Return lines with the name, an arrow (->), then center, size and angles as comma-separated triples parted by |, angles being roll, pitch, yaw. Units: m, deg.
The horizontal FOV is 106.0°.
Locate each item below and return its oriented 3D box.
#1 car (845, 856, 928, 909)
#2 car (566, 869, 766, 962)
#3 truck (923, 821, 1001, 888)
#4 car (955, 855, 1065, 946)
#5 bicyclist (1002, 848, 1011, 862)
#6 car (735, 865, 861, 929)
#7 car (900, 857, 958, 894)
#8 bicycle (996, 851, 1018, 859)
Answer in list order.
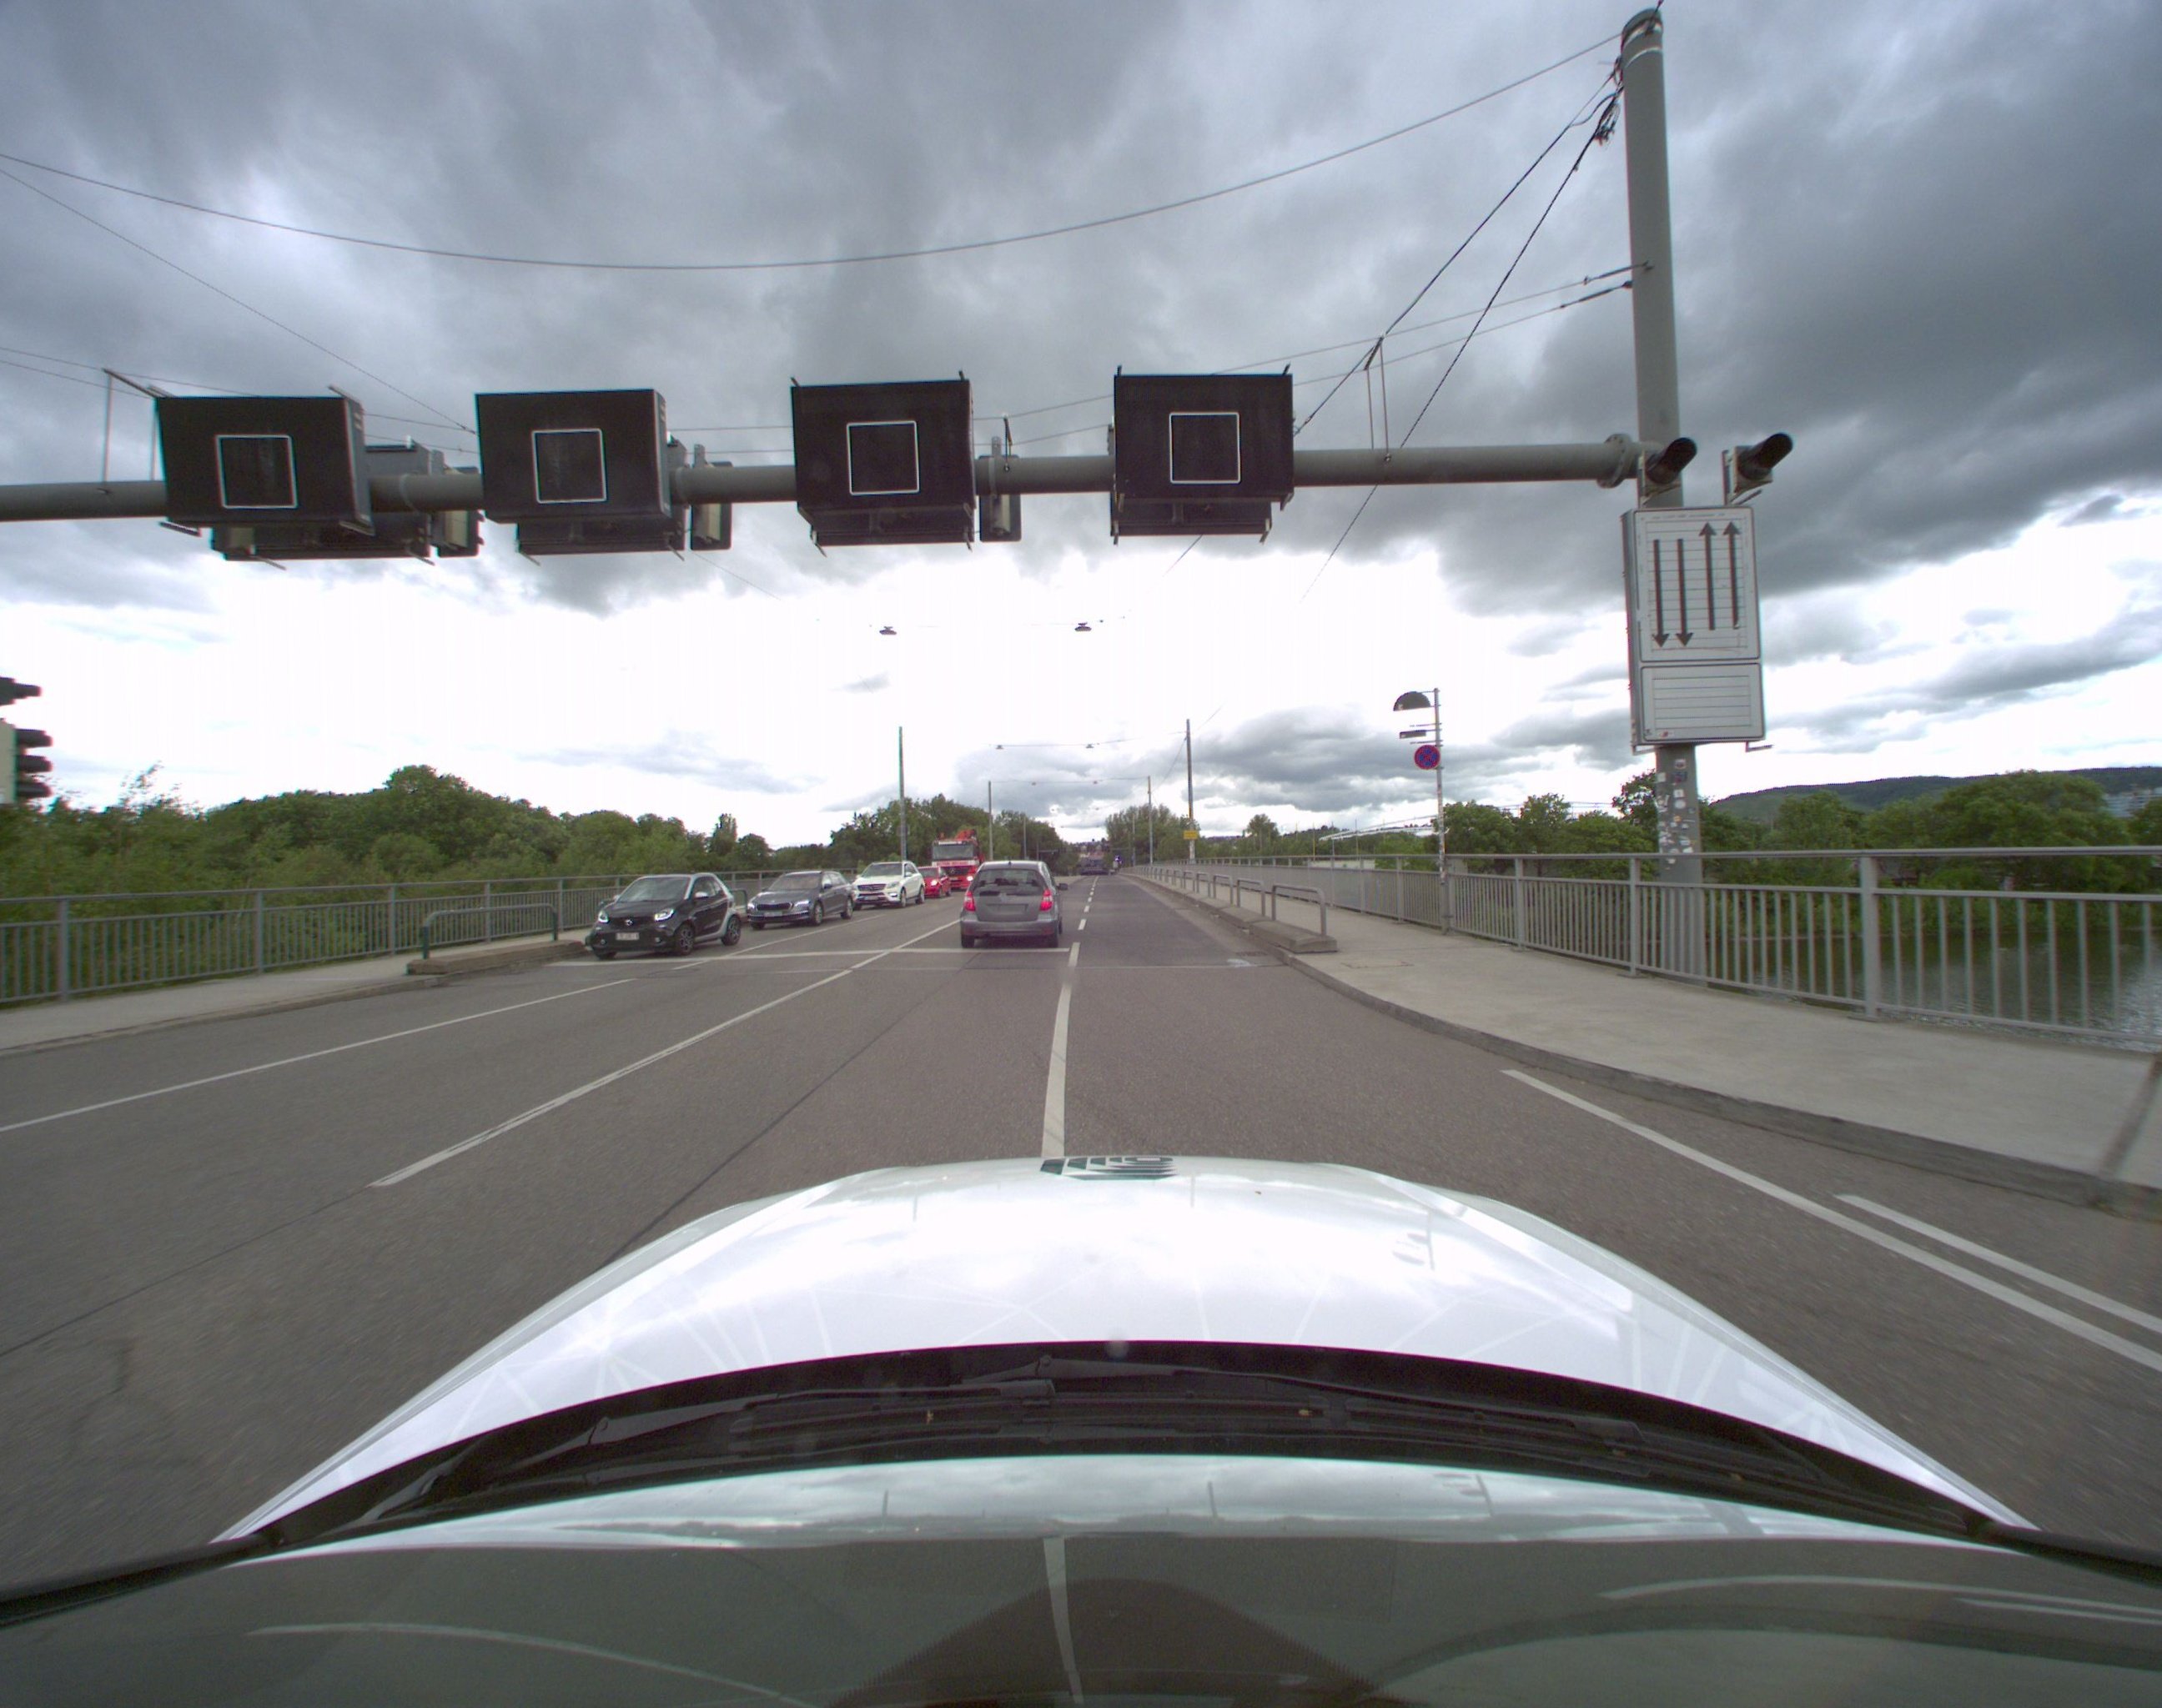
car -> -7.302, 1.014, 31.108 | 1.873, 1.761, 4.803 | -2, 0, 1
car -> -8.138, 1.132, 16.435 | 1.828, 1.504, 3.874 | -3, 0, 3
truck -> -7.145, 0.033, 50.323 | 2.995, 3.565, 9.984 | -2, 0, 1
car -> -1.257, 0.800, 15.958 | 1.739, 1.550, 3.872 | -1, 0, 1
bicyclist -> -10.119, 0.143, 110.203 | 1.130, 1.764, 0.904 | -1, -1, -4
car -> -7.794, 1.122, 22.936 | 1.829, 1.504, 4.518 | -2, 0, 1
car -> -7.227, 0.986, 38.994 | 1.873, 1.603, 4.016 | -2, 0, 1
bicycle -> -10.008, 0.105, 110.227 | 2.785, 1.051, 0.919 | -1, -1, -4
